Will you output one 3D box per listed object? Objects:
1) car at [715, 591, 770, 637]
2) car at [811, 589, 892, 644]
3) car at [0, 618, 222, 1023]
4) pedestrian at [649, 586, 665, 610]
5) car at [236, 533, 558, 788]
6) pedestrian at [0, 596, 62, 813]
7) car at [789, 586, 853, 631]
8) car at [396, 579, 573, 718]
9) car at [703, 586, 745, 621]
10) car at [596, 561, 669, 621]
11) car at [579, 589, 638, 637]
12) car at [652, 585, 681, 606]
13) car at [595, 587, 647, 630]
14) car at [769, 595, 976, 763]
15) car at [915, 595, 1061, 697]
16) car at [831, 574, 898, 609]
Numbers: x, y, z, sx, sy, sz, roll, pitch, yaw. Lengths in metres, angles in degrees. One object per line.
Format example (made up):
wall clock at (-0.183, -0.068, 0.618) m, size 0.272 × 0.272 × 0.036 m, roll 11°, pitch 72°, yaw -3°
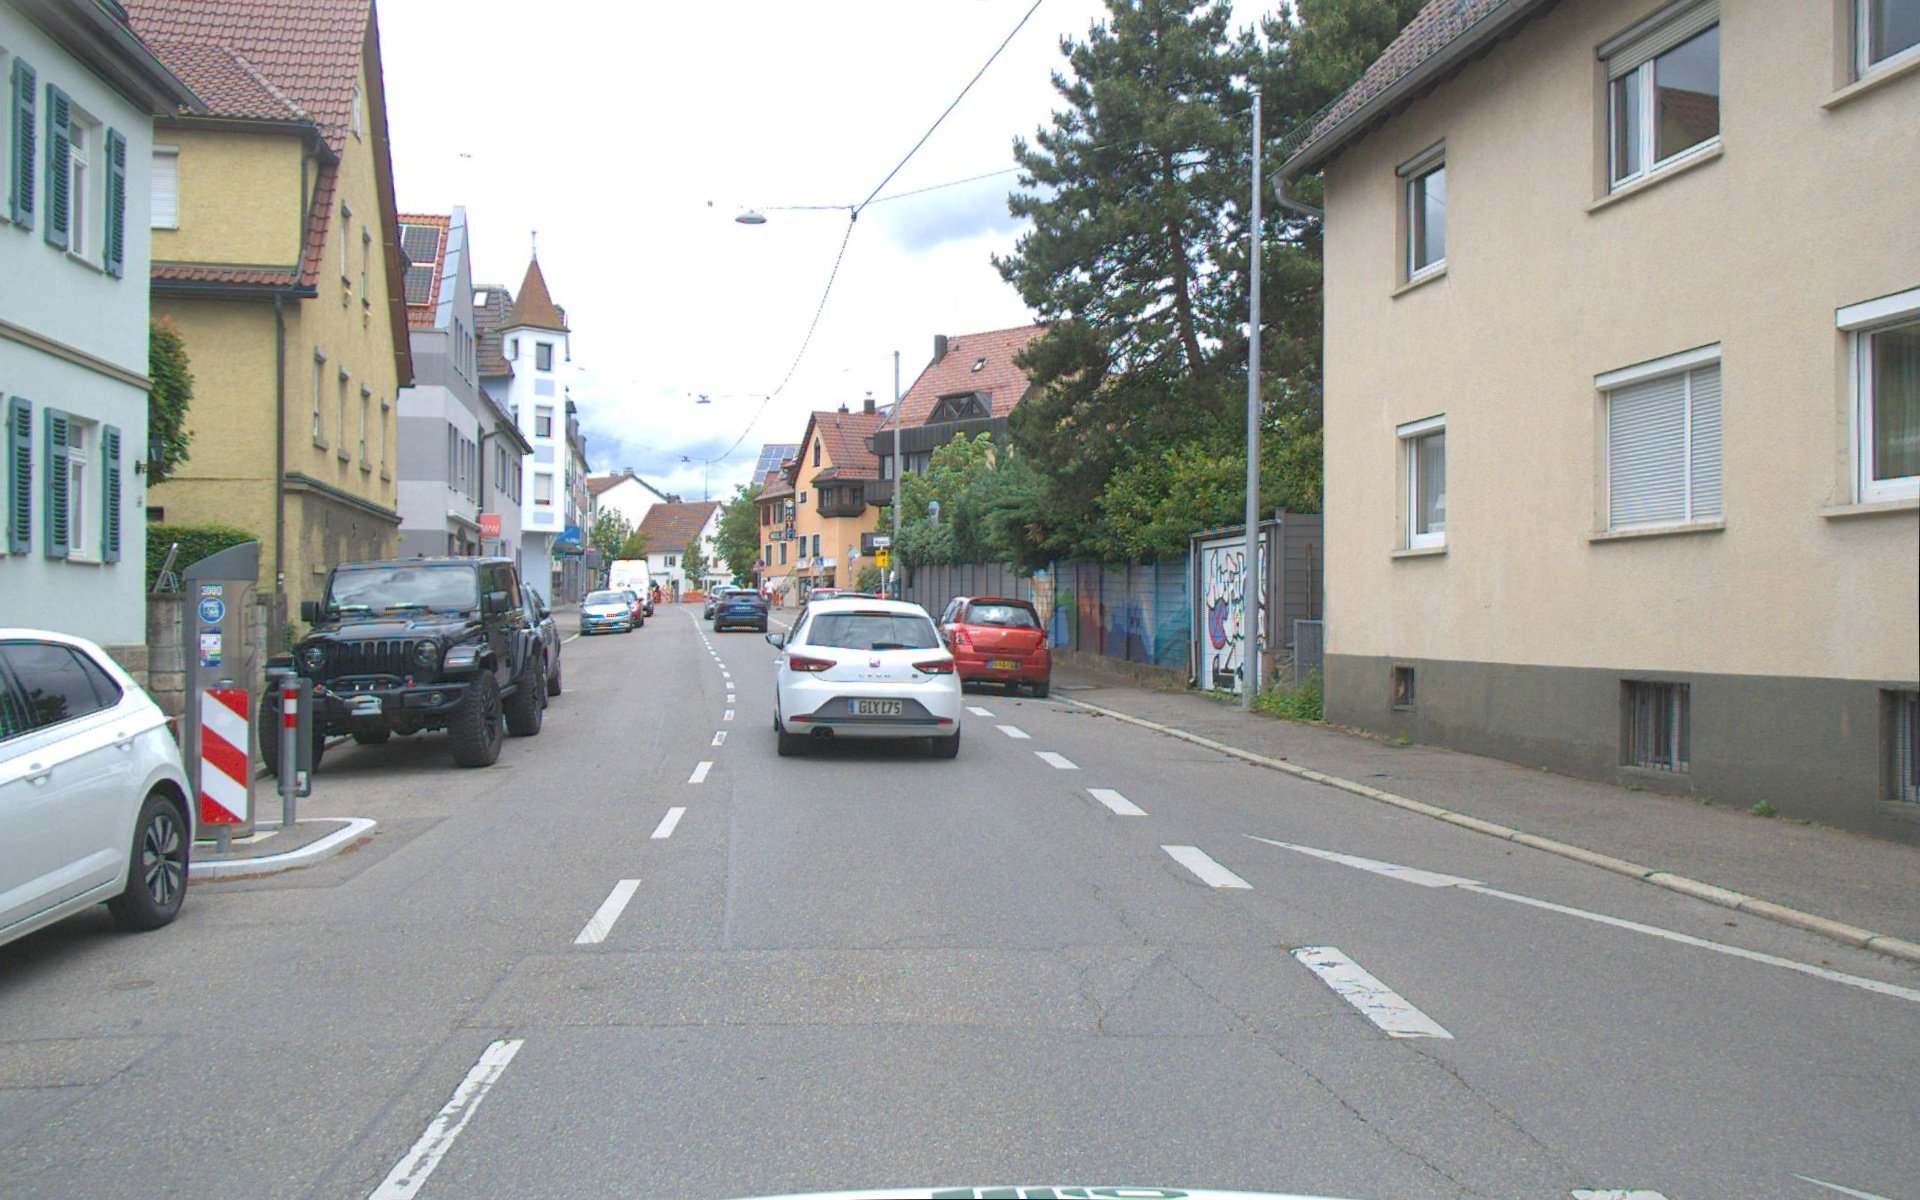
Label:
car at (-7.339, 0.441, 55.571) m, size 1.726 × 1.477 × 3.992 m, roll 0°, pitch 0°, yaw -9°
car at (-3.110, 0.428, 46.764) m, size 1.728 × 1.477 × 3.987 m, roll 0°, pitch 0°, yaw -12°
car at (-4.581, 0.842, 6.293) m, size 1.958 × 1.461 × 3.916 m, roll 1°, pitch 0°, yaw -4°
pedestrian at (-25.289, -0.172, 138.125) m, size 1.205 × 2.049 × 1.173 m, roll 1°, pitch 0°, yaw -9°
car at (-5.276, 0.471, 16.197) m, size 1.956 × 2.048 × 4.664 m, roll -2°, pitch 1°, yaw -7°
pedestrian at (-7.174, 0.731, 11.973) m, size 0.790 × 1.526 × 0.975 m, roll 2°, pitch -1°, yaw -4°
car at (-4.875, 0.279, 57.596) m, size 1.728 × 1.477 × 3.987 m, roll 0°, pitch 0°, yaw -12°
car at (-6.570, 0.587, 23.302) m, size 1.862 × 1.647 × 4.515 m, roll -1°, pitch 2°, yaw -10°
car at (-10.336, 0.137, 72.302) m, size 1.726 × 1.477 × 3.991 m, roll 0°, pitch 0°, yaw -10°
car at (-15.633, -0.426, 79.303) m, size 2.107 × 2.734 × 5.547 m, roll 1°, pitch 0°, yaw 3°
car at (-12.181, 0.421, 57.494) m, size 1.767 × 1.505 × 4.041 m, roll -2°, pitch 1°, yaw -10°
car at (-25.534, -0.420, 143.948) m, size 1.757 × 1.731 × 4.000 m, roll 1°, pitch 0°, yaw 1°
car at (-12.895, 0.299, 63.067) m, size 1.767 × 1.505 × 4.041 m, roll -2°, pitch 1°, yaw -10°
car at (-0.997, 0.693, 16.656) m, size 1.725 × 1.477 × 3.992 m, roll 0°, pitch 0°, yaw -8°
car at (0.384, 0.698, 27.199) m, size 1.726 × 1.477 × 3.992 m, roll 2°, pitch 0°, yaw -8°
car at (-4.479, -0.409, 77.498) m, size 2.768 × 1.538 × 1.698 m, roll 1°, pitch 2°, yaw -21°
